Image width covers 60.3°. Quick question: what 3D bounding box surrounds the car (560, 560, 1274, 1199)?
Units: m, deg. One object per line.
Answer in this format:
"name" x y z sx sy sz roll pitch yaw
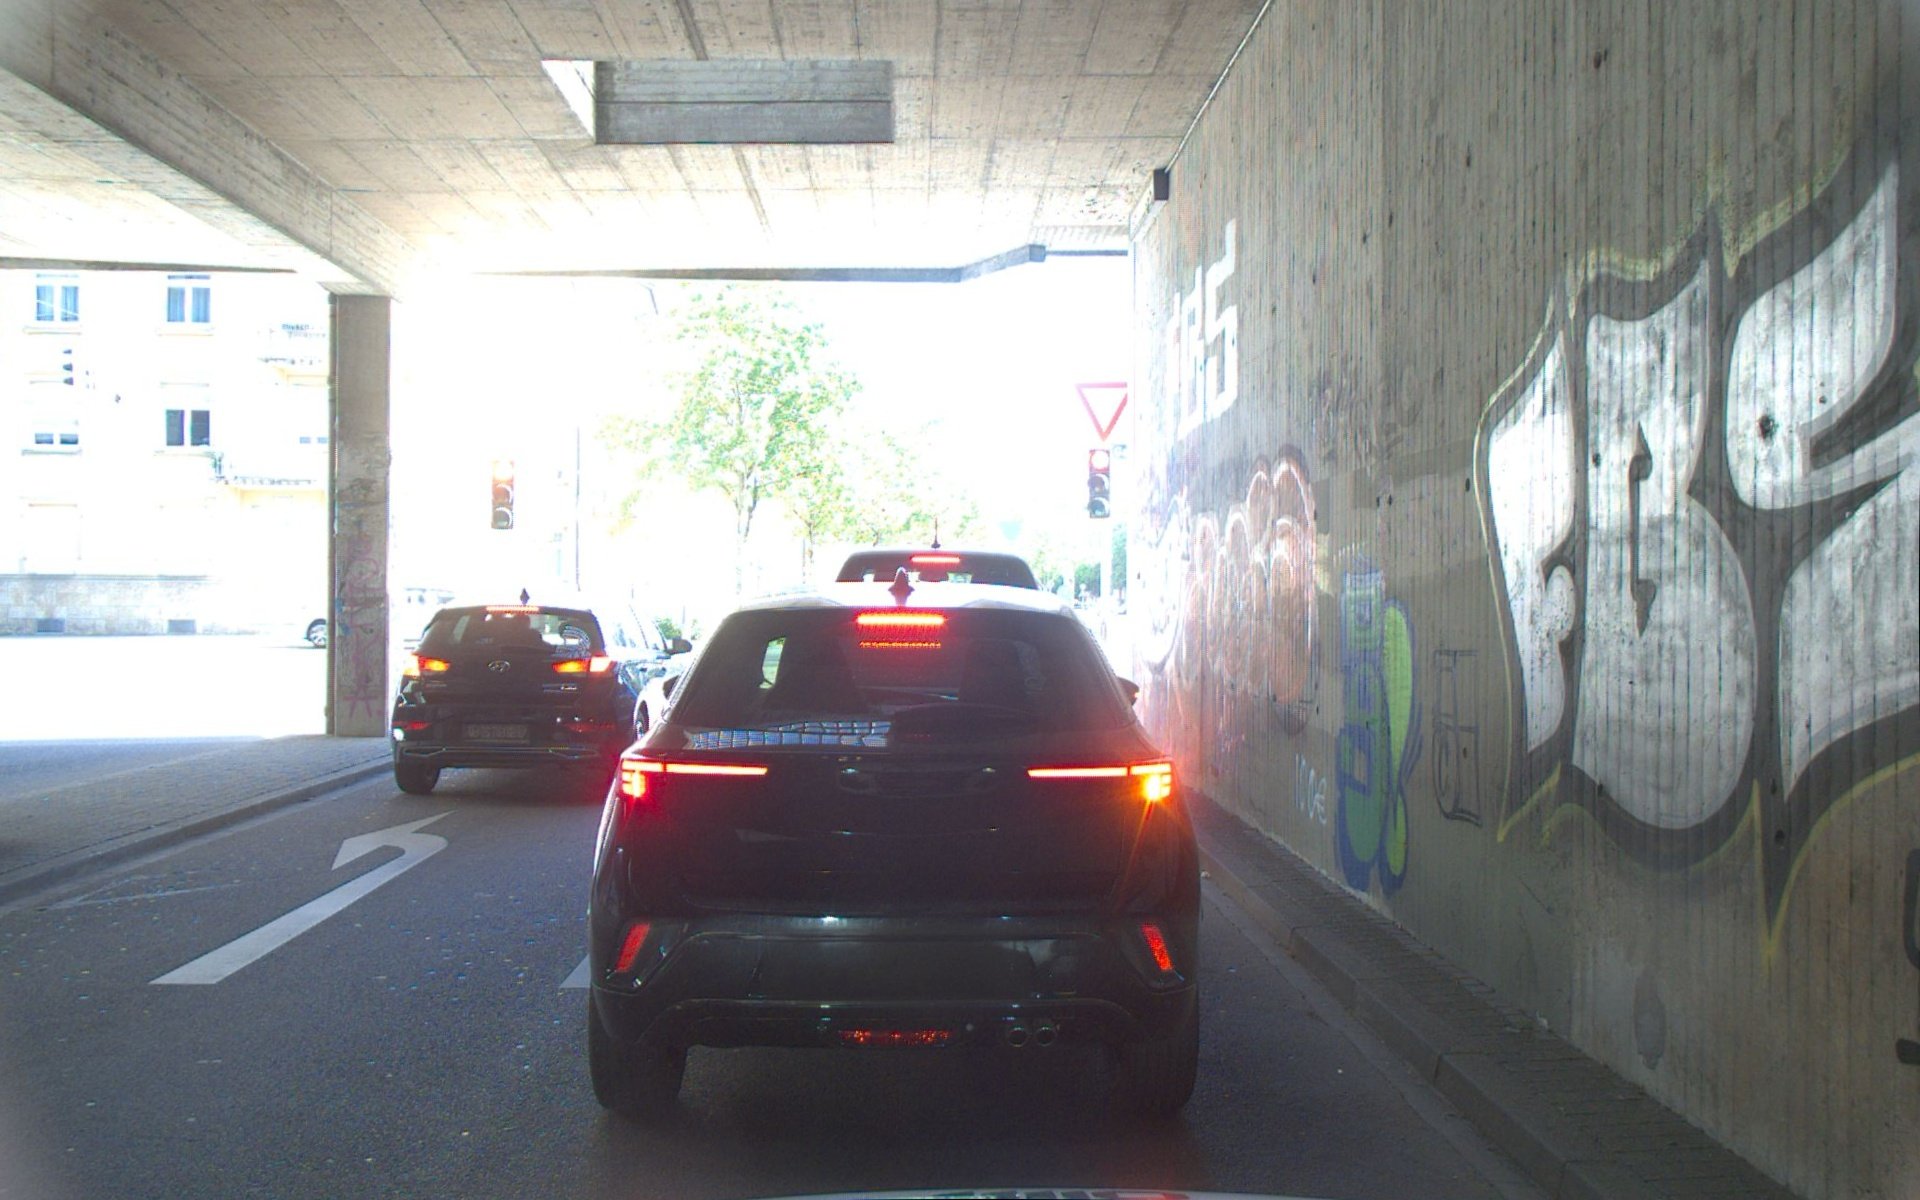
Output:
"car" -0.130 0.682 6.061 1.726 1.558 4.088 0 0 -1

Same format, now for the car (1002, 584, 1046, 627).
"car" 2.673 0.217 68.327 1.717 1.696 3.946 1 0 3

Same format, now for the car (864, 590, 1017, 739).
"car" -0.230 0.668 19.221 1.576 1.539 4.053 0 0 -1

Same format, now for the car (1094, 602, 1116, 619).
"car" 15.218 1.070 173.232 1.778 1.696 4.819 1 0 11

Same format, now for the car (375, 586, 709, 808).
"car" -3.141 0.656 13.204 1.726 1.506 3.843 0 0 -1

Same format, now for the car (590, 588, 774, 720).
"car" -3.412 0.617 20.924 1.726 1.506 3.843 0 0 -1

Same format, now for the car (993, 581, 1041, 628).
"car" 2.184 0.183 62.201 1.717 1.696 3.946 1 0 3

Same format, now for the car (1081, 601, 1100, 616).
"car" 14.780 0.937 187.419 1.716 1.696 3.948 1 0 10

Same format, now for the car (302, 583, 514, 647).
"car" -12.603 0.337 37.925 4.189 1.423 1.883 0 0 3

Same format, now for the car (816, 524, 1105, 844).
"car" -0.024 0.501 12.006 1.726 1.915 4.145 0 0 -1
